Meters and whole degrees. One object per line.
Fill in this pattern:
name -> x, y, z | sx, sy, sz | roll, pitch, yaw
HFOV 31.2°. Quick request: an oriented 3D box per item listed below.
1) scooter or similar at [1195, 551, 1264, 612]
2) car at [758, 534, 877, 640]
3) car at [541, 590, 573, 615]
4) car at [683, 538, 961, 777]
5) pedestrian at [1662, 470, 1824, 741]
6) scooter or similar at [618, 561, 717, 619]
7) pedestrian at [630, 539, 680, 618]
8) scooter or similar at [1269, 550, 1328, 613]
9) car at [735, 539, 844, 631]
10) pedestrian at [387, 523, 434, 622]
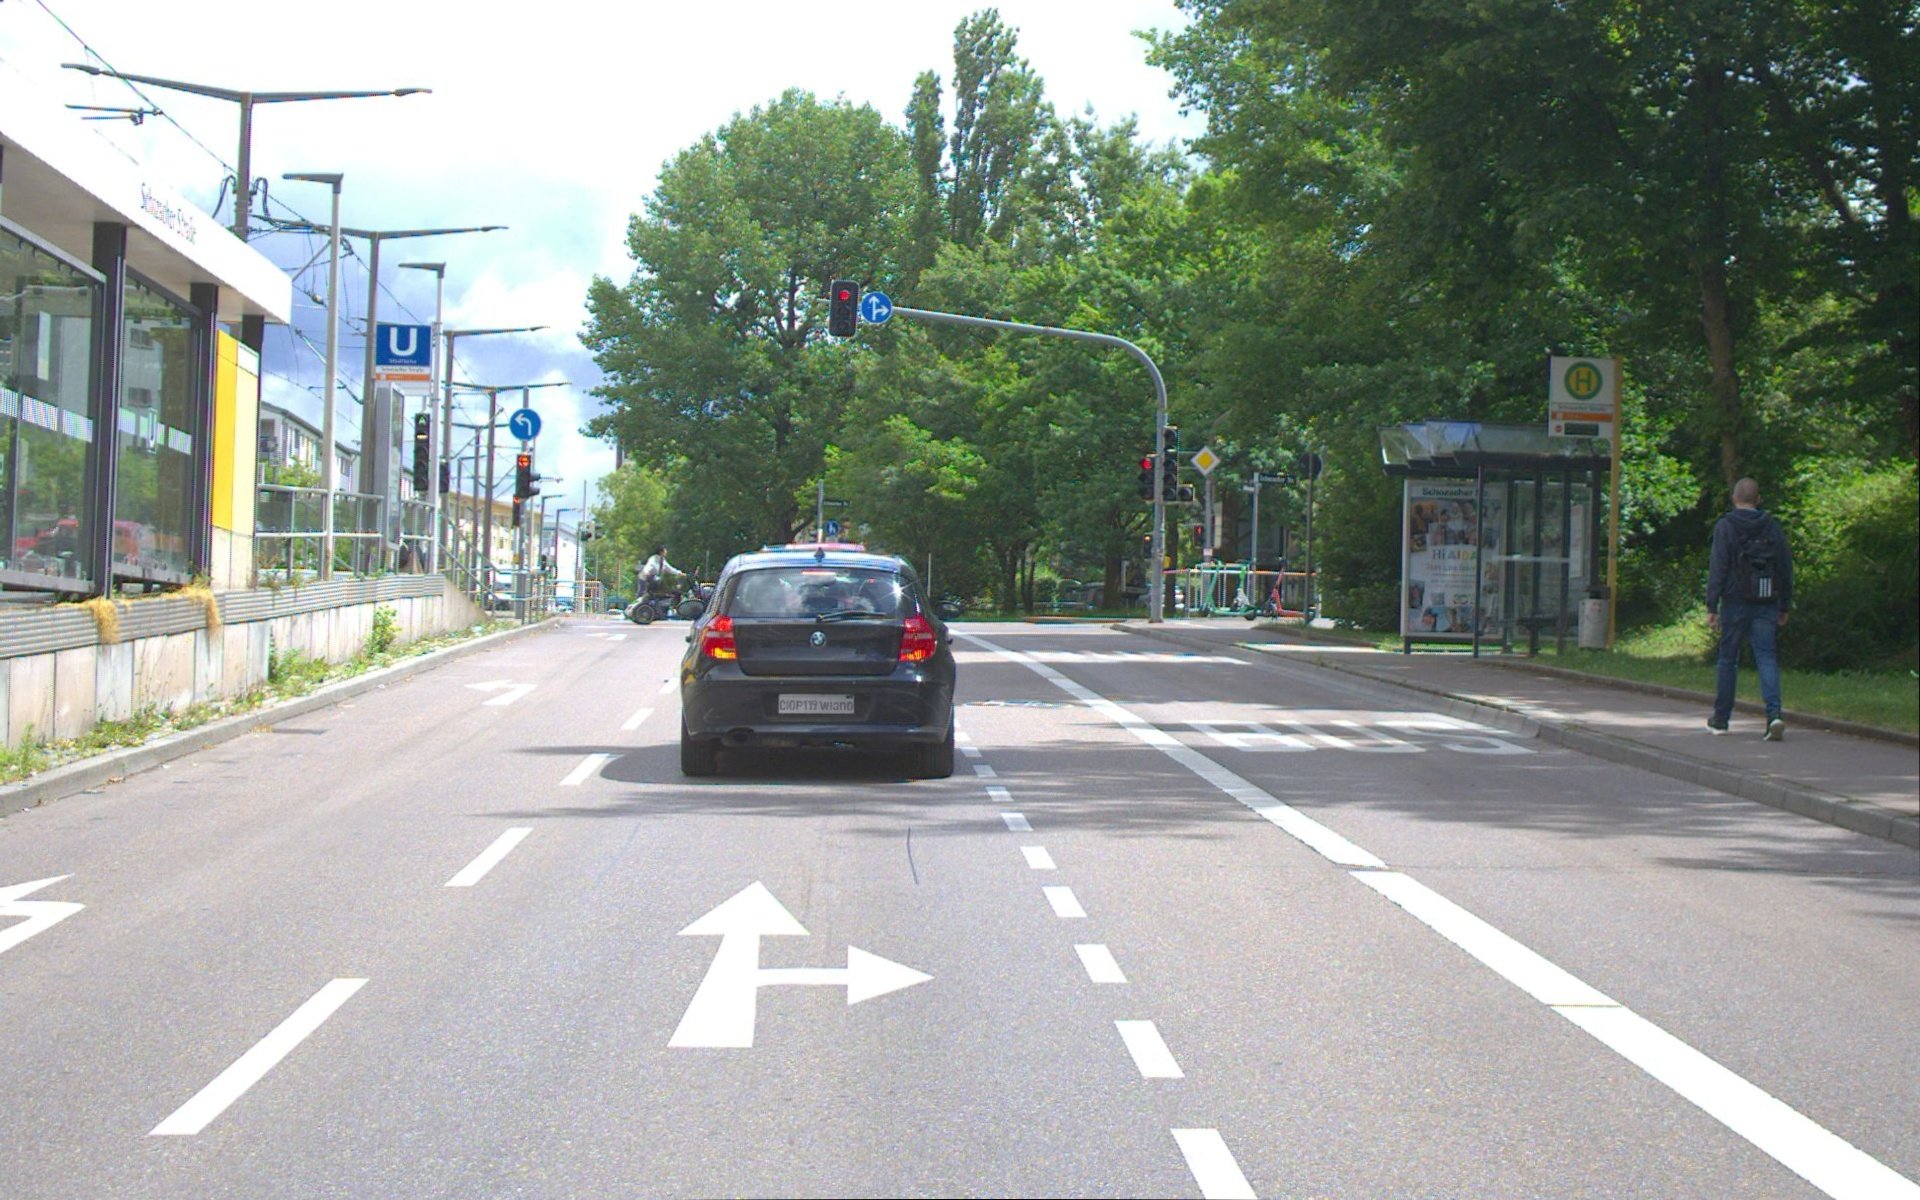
scooter or similar -> 5.311, -0.371, 67.811 | 1.287, 1.185, 0.385 | 0, 1, -17
car -> -1.970, -0.205, 48.129 | 1.594, 1.414, 3.517 | 1, 1, -2
car -> -27.447, 0.153, 234.128 | 1.966, 1.590, 4.001 | 1, 1, -5
car -> -0.844, 0.319, 22.439 | 1.654, 1.414, 3.517 | 1, 1, 0
pedestrian -> 5.649, 0.028, 24.853 | 0.801, 1.889, 1.270 | 2, 1, -1
scooter or similar -> -5.348, -0.186, 62.912 | 1.780, 1.047, 0.410 | 1, 1, -8
pedestrian -> -5.620, -0.404, 63.383 | 0.865, 1.437, 0.799 | 1, 1, -1
scooter or similar -> 6.767, -0.367, 68.662 | 1.106, 1.253, 0.332 | 0, 1, -14
car -> -2.754, -0.261, 54.955 | 1.654, 1.414, 3.517 | 1, 1, -4
pedestrian -> -9.071, -0.455, 56.760 | 0.701, 1.627, 0.638 | 0, 1, -3
